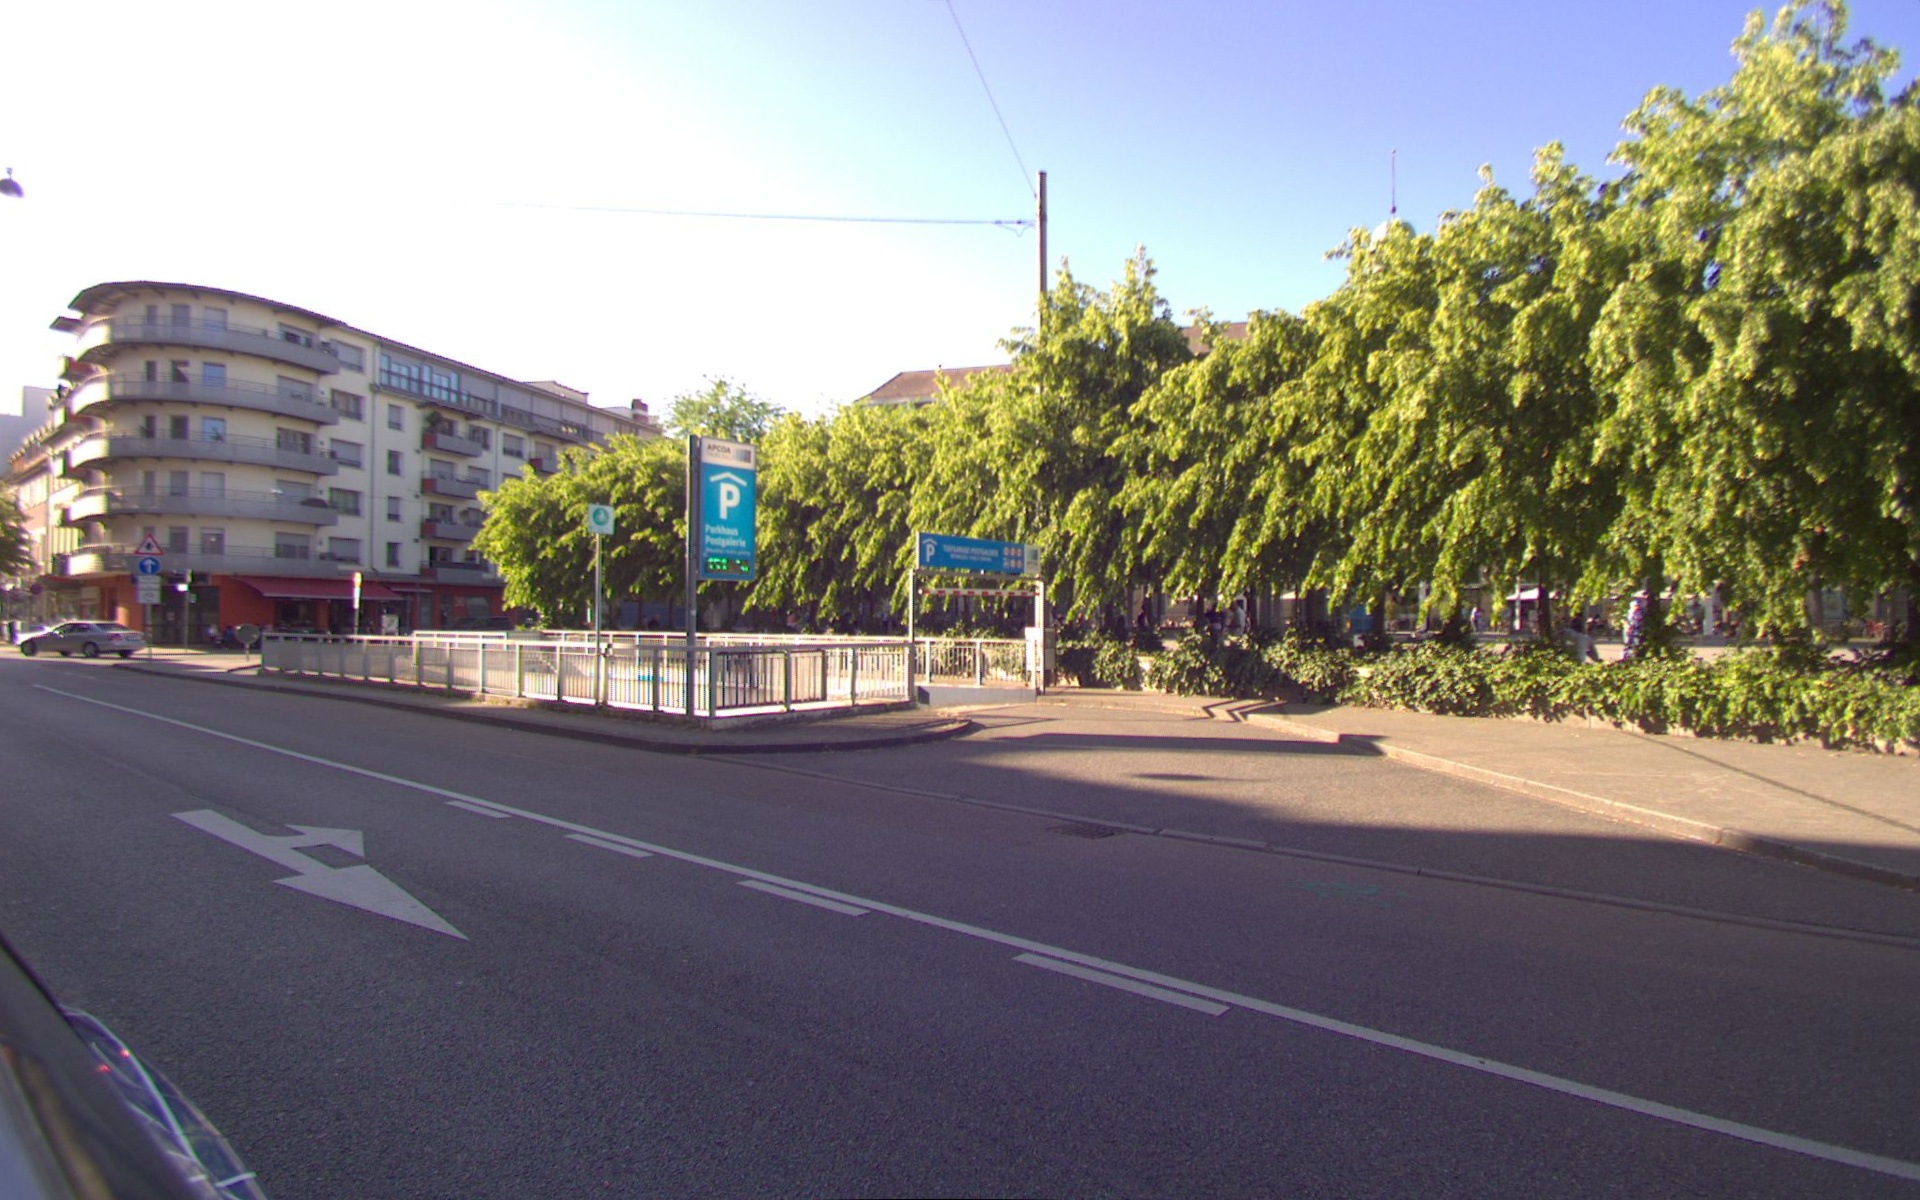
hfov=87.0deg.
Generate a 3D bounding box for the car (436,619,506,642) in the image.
[{"bbox_3d":[-30.497,1.888,63.219,1.742,1.311,3.977,-1,-1,17],"label":"car"}]

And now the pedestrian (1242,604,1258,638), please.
[{"bbox_3d":[14.747,1.067,51.397,0.606,1.734,0.640,-1,0,31],"label":"pedestrian"}]

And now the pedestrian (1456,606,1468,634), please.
[{"bbox_3d":[31.237,1.260,62.979,0.643,1.734,0.603,-1,0,26],"label":"pedestrian"}]

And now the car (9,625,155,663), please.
[{"bbox_3d":[-34.763,1.739,40.136,4.207,1.363,1.823,2,-2,2],"label":"car"}]

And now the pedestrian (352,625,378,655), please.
[{"bbox_3d":[-32.730,2.171,55.658,0.877,1.607,0.861,-1,0,2],"label":"pedestrian"}]

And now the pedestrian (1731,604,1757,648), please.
[{"bbox_3d":[31.639,1.037,40.856,0.641,1.734,0.605,-1,0,18],"label":"pedestrian"}]

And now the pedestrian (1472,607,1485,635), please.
[{"bbox_3d":[31.735,1.273,61.927,0.643,1.734,0.603,-1,0,26],"label":"pedestrian"}]

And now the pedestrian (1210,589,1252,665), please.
[{"bbox_3d":[6.048,0.586,22.571,0.645,1.661,0.626,-1,0,-35],"label":"pedestrian"}]

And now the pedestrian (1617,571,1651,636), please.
[{"bbox_3d":[18.417,0.097,27.654,0.643,1.734,0.604,-1,0,22],"label":"pedestrian"}]

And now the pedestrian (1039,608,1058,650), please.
[{"bbox_3d":[3.703,1.206,42.416,0.604,1.734,0.642,-1,0,21],"label":"pedestrian"}]

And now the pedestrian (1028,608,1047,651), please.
[{"bbox_3d":[3.221,1.219,41.882,0.604,1.734,0.642,-1,0,21],"label":"pedestrian"}]
